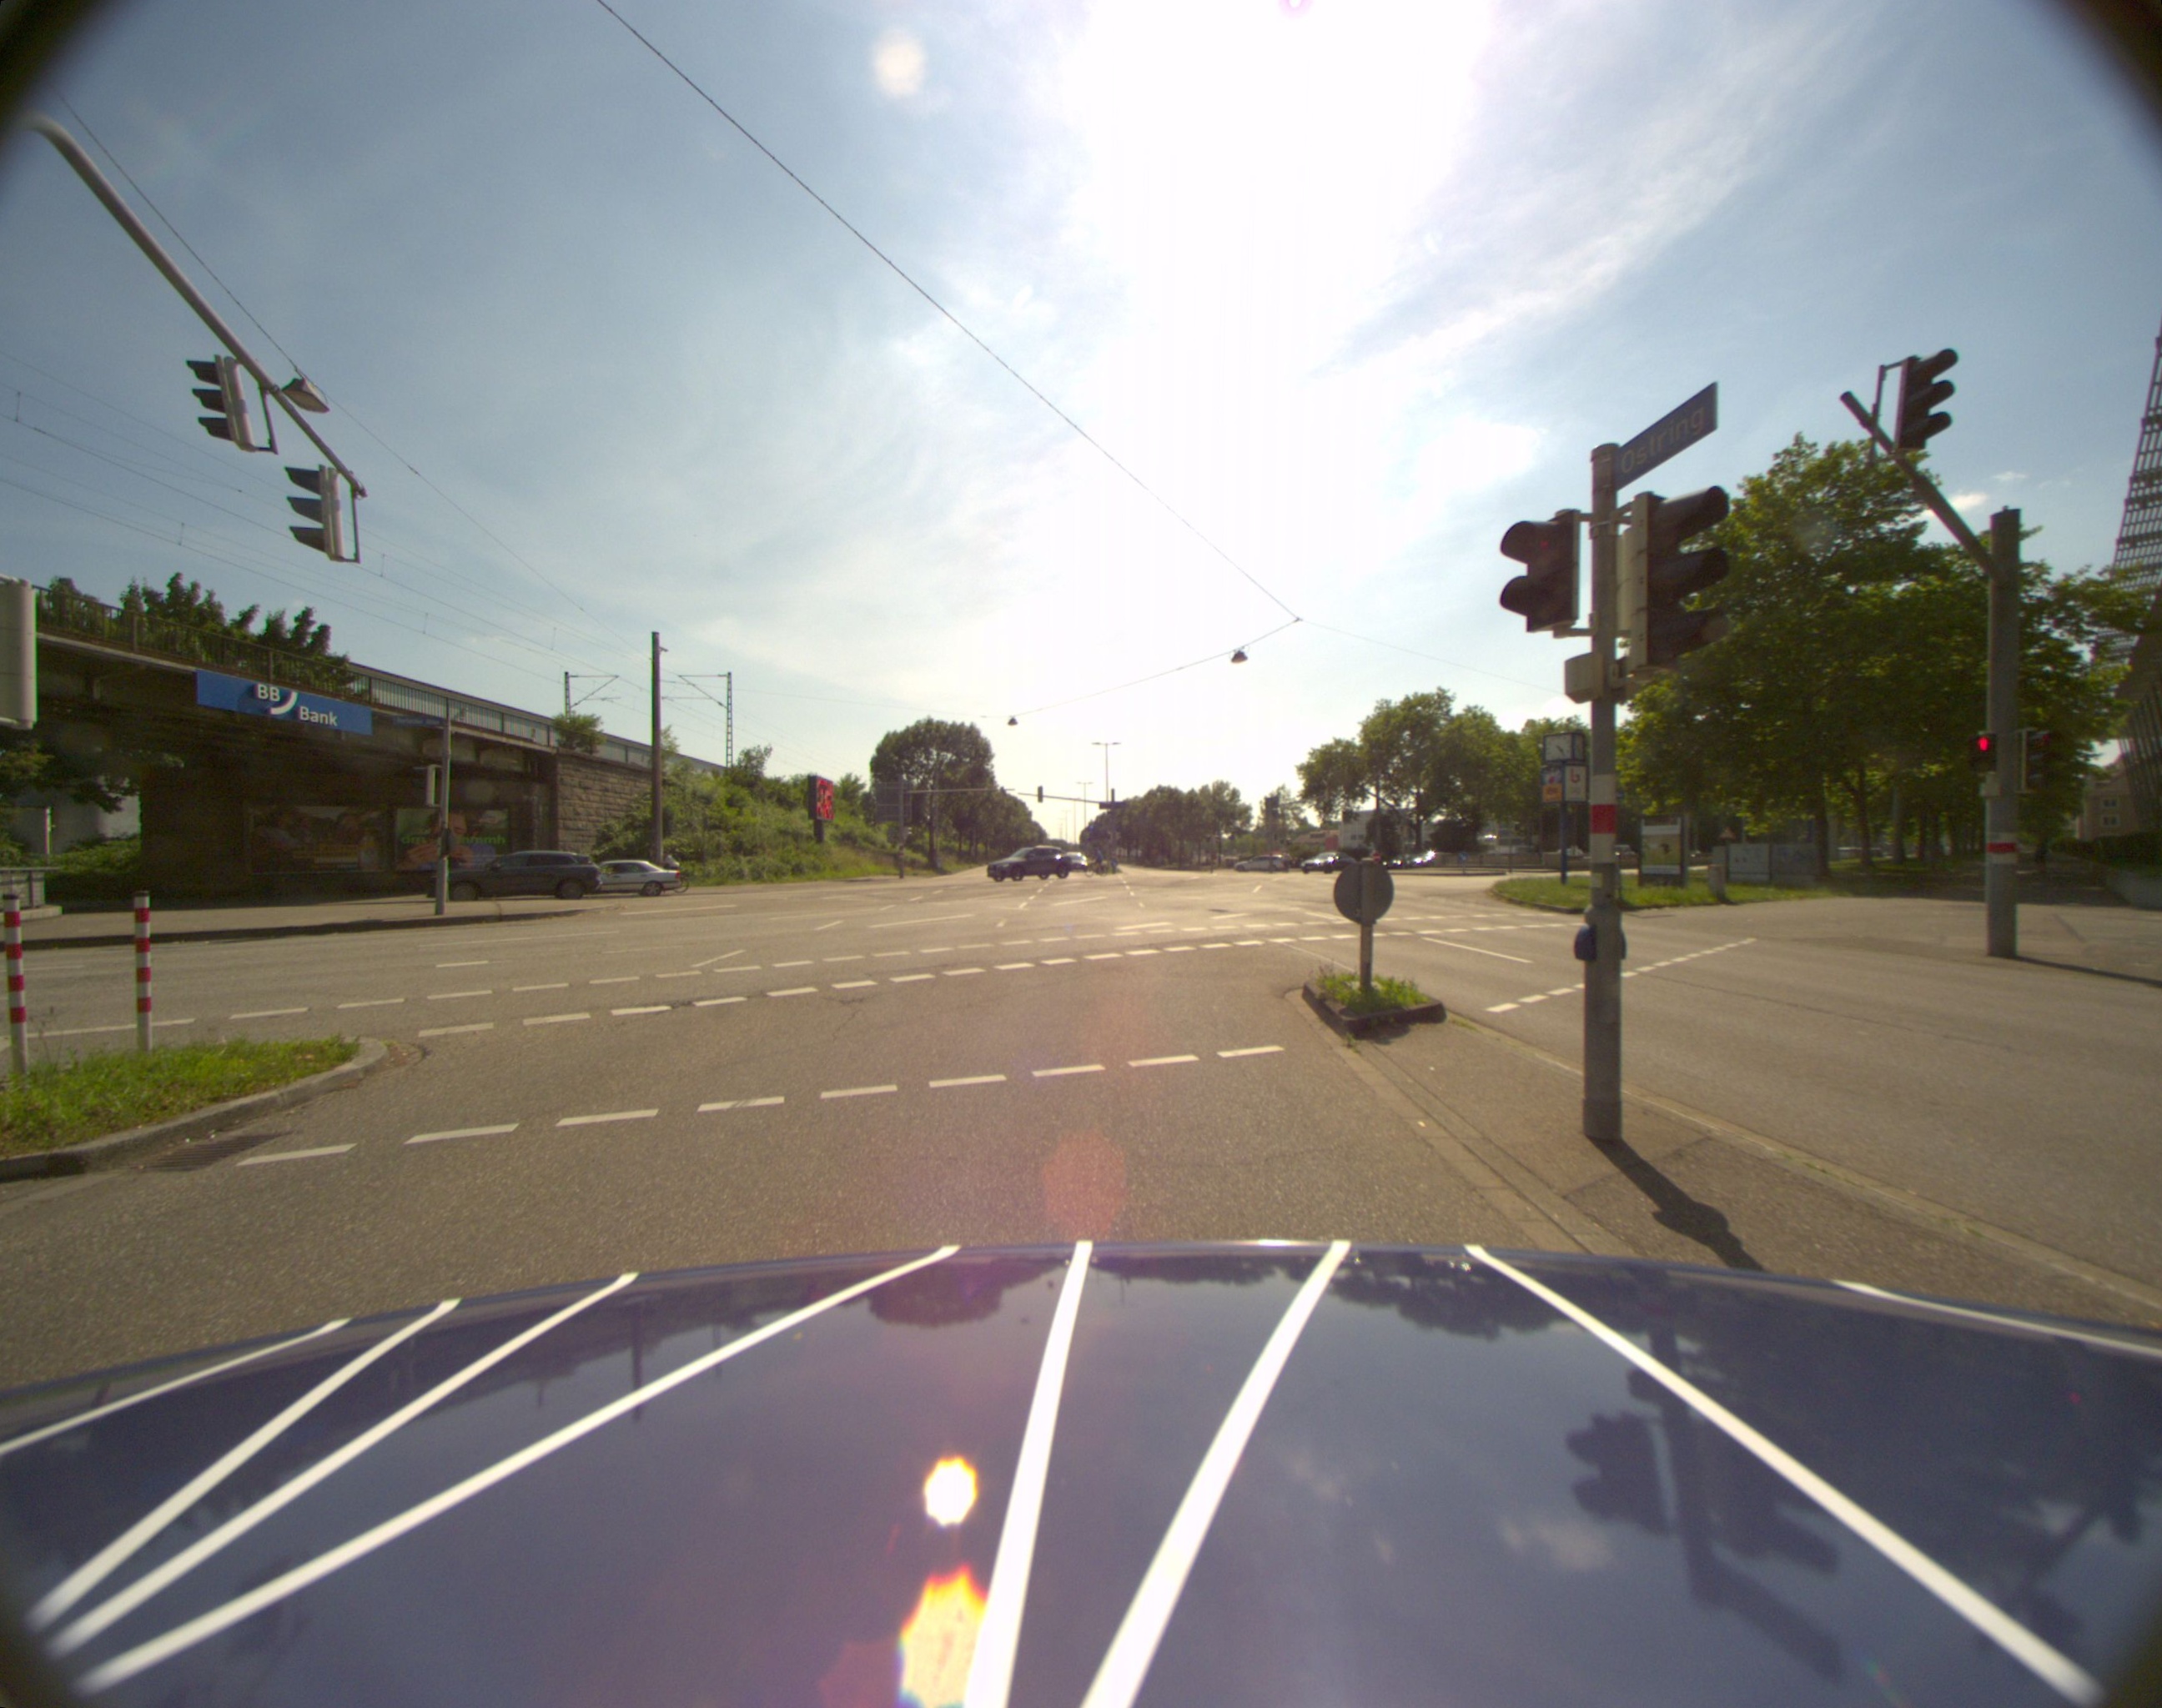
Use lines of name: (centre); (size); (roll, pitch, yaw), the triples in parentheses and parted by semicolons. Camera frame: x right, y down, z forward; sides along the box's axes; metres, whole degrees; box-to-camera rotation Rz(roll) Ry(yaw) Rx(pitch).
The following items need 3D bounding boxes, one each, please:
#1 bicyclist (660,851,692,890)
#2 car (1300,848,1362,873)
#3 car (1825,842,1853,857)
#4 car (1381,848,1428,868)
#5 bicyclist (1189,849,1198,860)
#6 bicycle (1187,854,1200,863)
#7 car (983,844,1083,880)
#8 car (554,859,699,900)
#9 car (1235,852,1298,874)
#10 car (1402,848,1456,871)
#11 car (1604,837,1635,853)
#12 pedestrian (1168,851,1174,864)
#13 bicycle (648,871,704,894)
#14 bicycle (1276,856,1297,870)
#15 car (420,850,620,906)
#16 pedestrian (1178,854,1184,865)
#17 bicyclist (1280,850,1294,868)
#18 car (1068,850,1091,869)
bicyclist: (-16.928, 0.696, 31.743); (1.070, 1.624, 0.804); (0, -2, -36)
car: (16.888, 0.449, 51.343); (4.007, 1.603, 1.815); (0, -2, -33)
car: (89.835, -0.534, 90.069); (4.008, 1.630, 1.899); (0, -2, -40)
car: (27.084, 0.318, 63.530); (4.007, 1.619, 1.768); (-1, 1, -36)
bicyclist: (14.383, 0.077, 96.957); (0.884, 1.434, 0.965); (-1, 0, -10)
bicycle: (14.370, 0.553, 97.049); (0.884, 1.053, 2.770); (-1, 0, -10)
car: (-2.262, 0.363, 36.522); (4.569, 1.540, 1.825); (-2, 1, -38)
car: (-16.934, 0.894, 28.439); (4.450, 1.383, 1.711); (-1, 0, -40)
car: (16.517, 0.830, 67.589); (5.152, 1.713, 2.004); (-2, -2, 24)
car: (27.500, 0.418, 60.014); (4.439, 1.699, 1.995); (-1, 1, -36)
car: (66.007, -1.125, 93.099); (4.007, 1.926, 1.868); (-1, 1, -35)
pedestrian: (12.217, 0.467, 102.791); (0.631, 1.699, 0.767); (-1, 0, -4)
bicycle: (-16.913, 1.178, 31.740); (1.930, 0.887, 0.816); (0, -2, -36)
bicycle: (16.571, 0.710, 61.253); (0.773, 1.047, 2.399); (-1, 1, -8)
car: (-17.883, 0.689, 24.436); (4.984, 1.598, 1.943); (-1, 0, -38)
pedestrian: (13.286, 0.738, 101.238); (0.578, 1.515, 0.879); (-1, 0, -4)
bicyclist: (16.578, 0.371, 61.257); (0.773, 1.427, 0.920); (-1, 1, -8)
car: (-0.063, 0.480, 65.015); (1.714, 1.498, 4.002); (-1, -2, 3)
